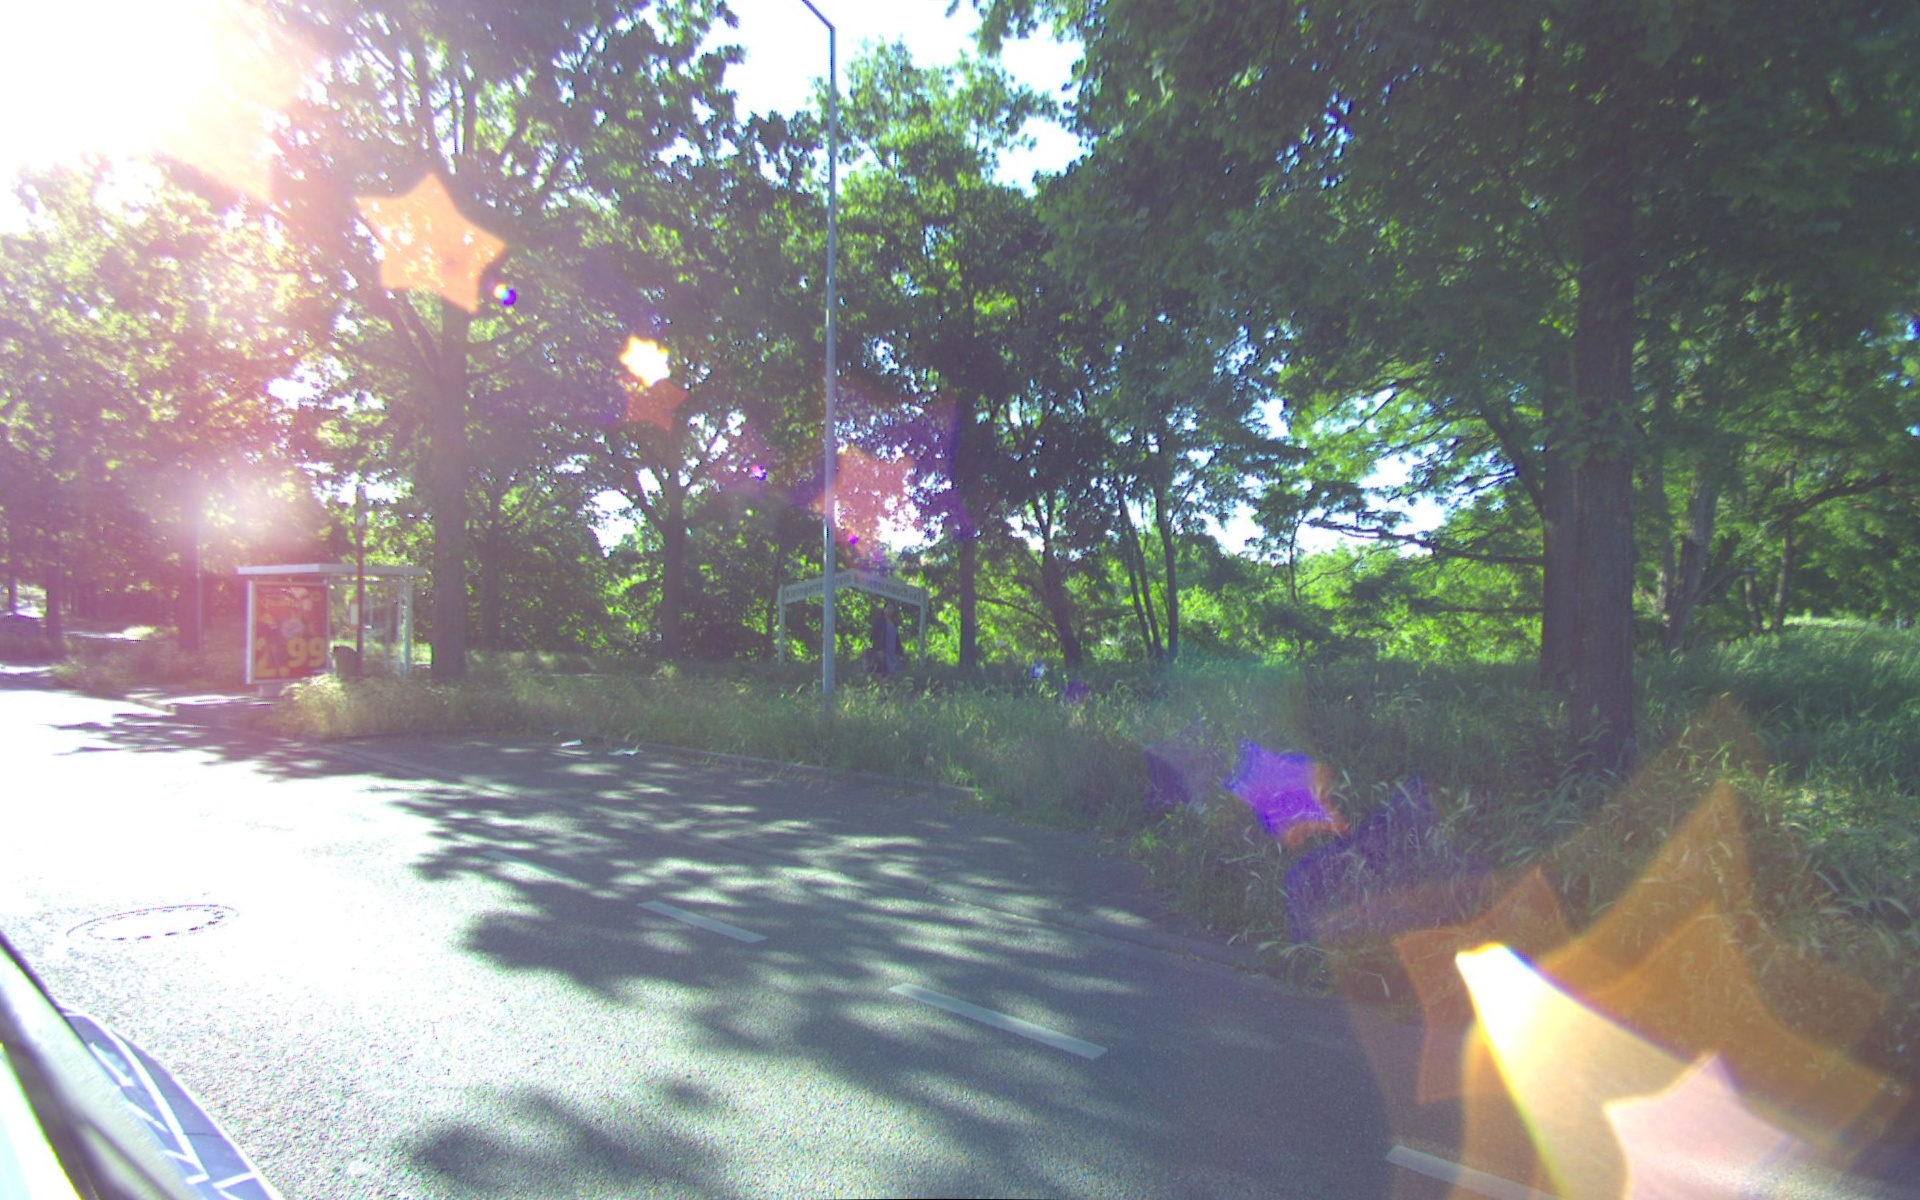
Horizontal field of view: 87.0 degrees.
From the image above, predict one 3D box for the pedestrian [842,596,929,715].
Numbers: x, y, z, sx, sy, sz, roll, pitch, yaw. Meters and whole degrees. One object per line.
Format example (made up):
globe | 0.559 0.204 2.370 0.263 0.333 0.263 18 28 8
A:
pedestrian | -1.118 0.805 15.167 0.891 1.701 0.903 -2 -1 42
